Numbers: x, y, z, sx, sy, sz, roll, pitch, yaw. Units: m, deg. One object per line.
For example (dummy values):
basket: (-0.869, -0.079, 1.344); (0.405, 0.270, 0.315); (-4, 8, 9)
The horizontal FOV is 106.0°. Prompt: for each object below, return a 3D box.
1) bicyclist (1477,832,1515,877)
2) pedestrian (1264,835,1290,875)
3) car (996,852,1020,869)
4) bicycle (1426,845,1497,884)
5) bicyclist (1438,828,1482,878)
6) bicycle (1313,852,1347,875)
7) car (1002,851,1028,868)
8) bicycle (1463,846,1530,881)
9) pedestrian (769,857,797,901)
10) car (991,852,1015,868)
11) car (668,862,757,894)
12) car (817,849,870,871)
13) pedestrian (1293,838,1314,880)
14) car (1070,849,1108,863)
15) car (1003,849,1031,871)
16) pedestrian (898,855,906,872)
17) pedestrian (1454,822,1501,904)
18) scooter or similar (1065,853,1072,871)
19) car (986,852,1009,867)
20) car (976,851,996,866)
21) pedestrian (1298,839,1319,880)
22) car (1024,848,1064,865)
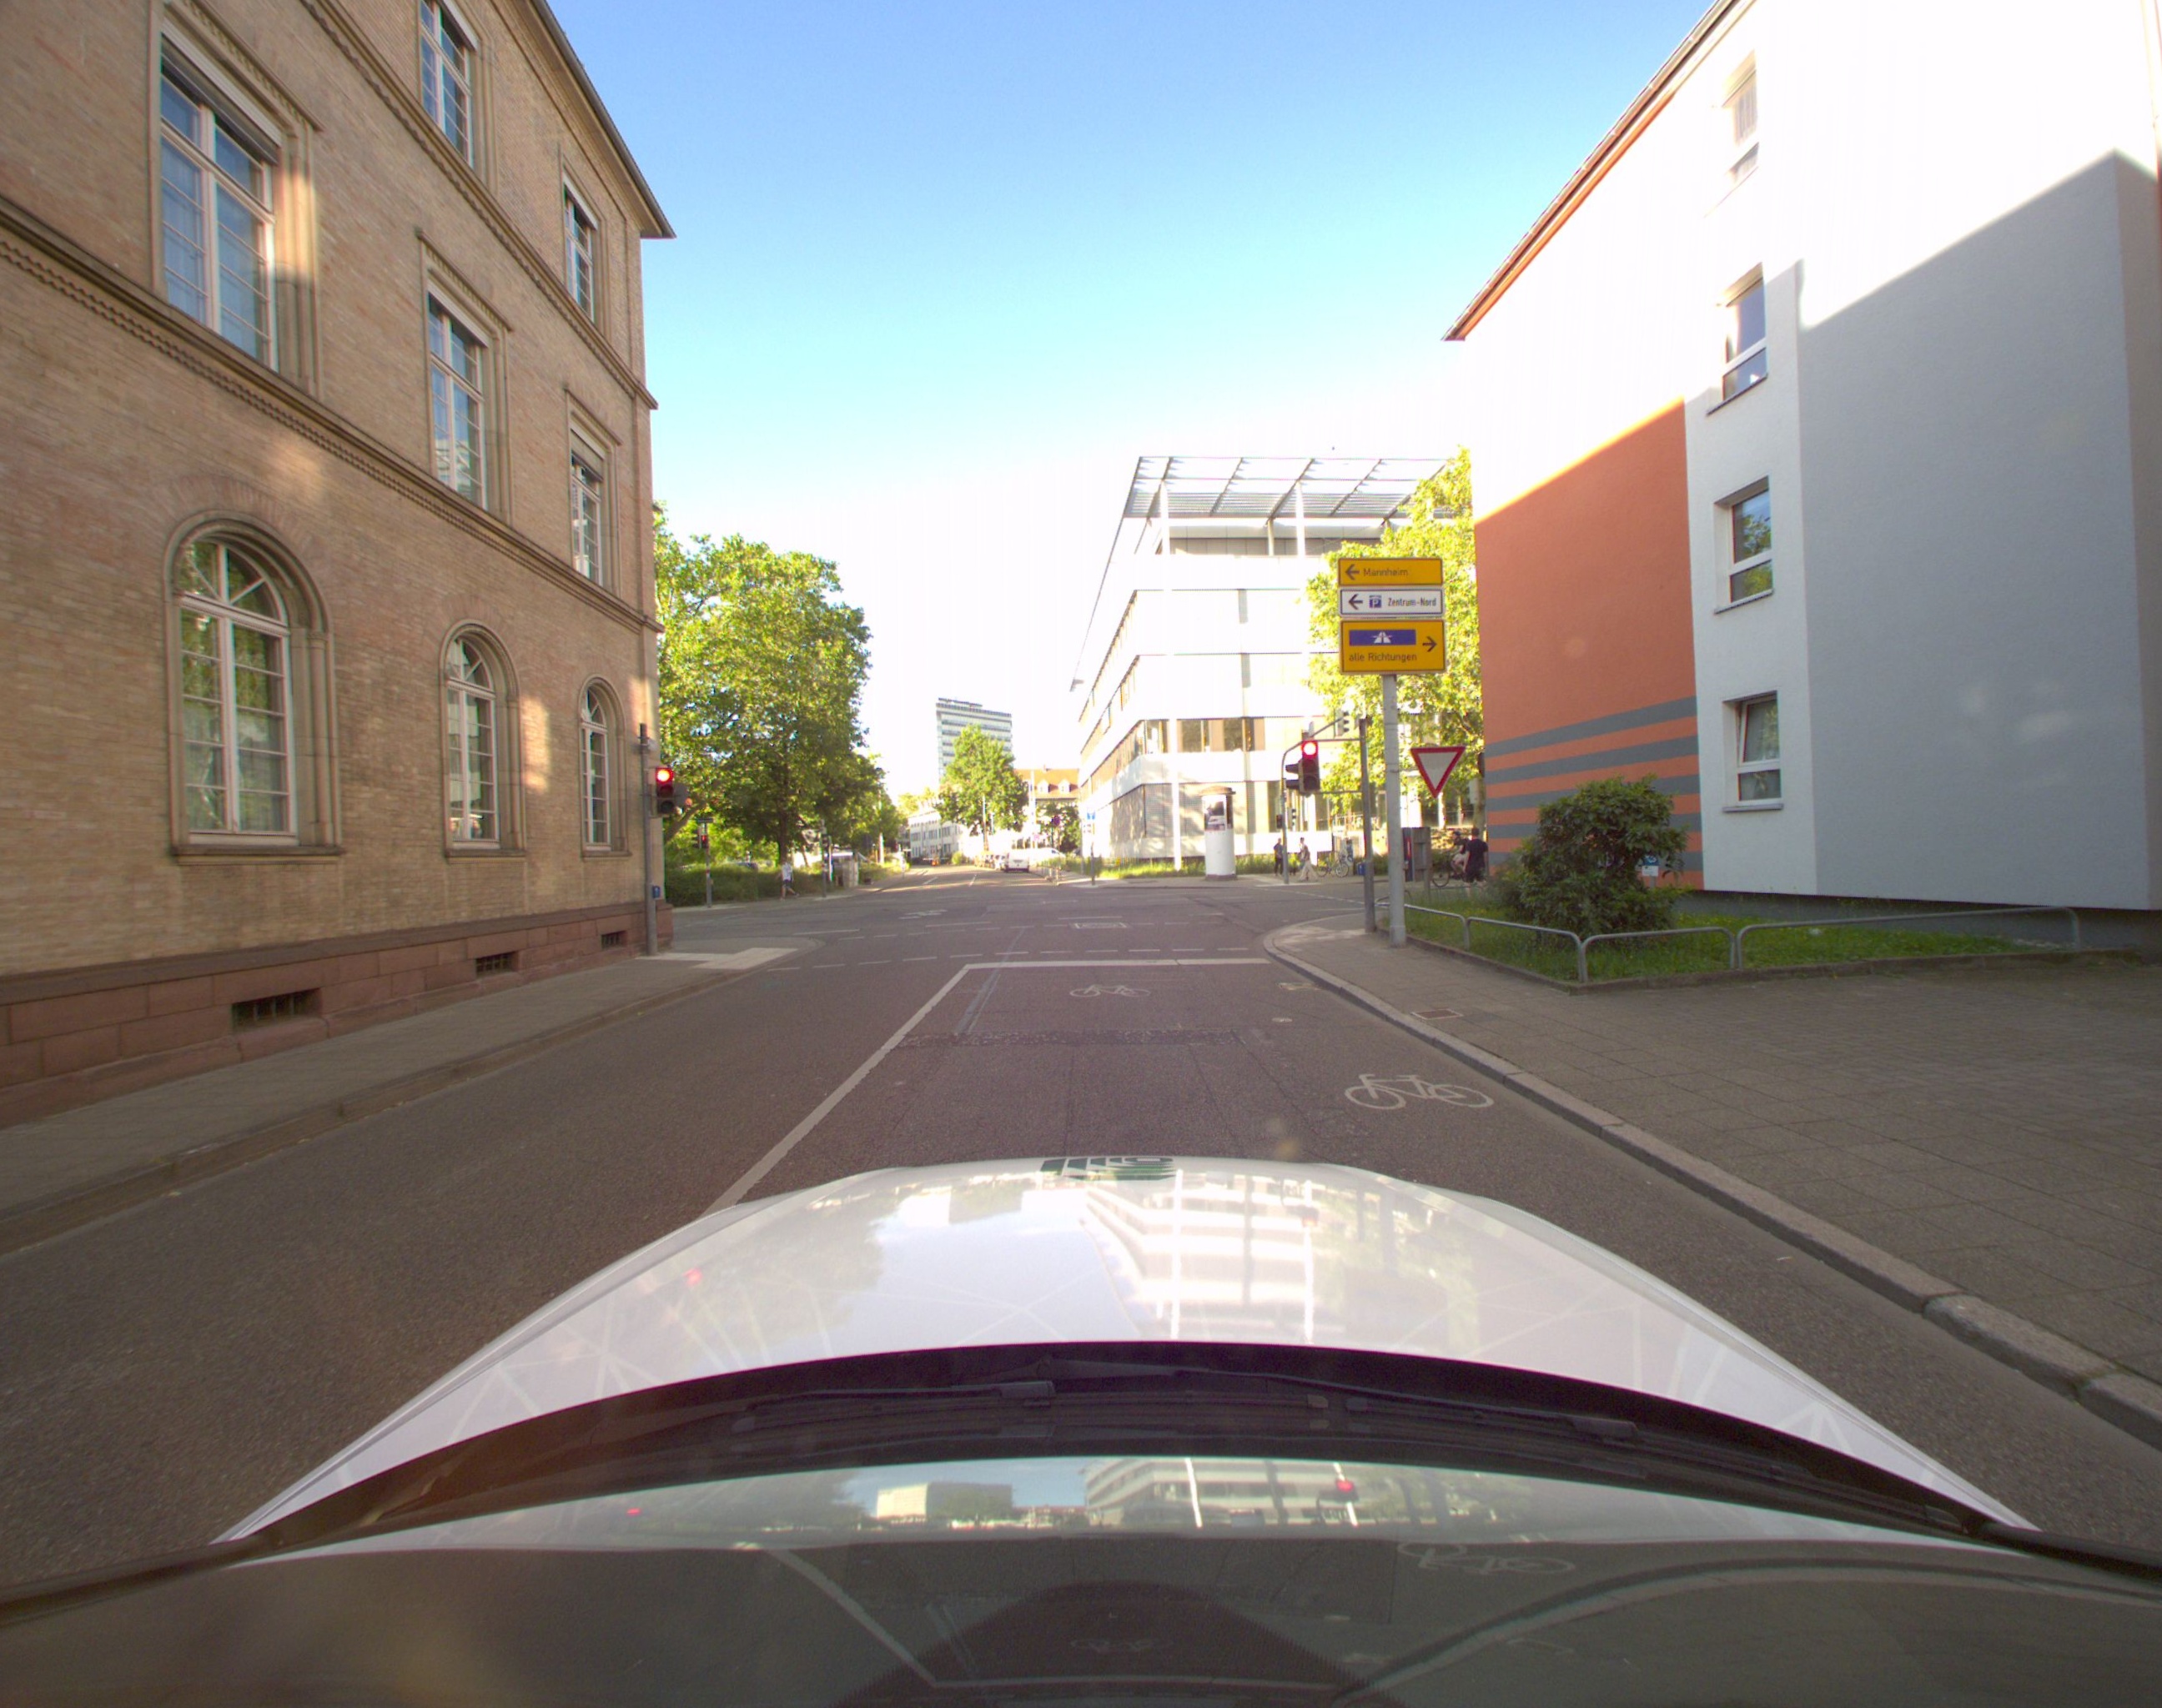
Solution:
bicyclist: (14.387, 0.009, 28.265); (0.912, 1.522, 0.705); (-2, 0, 2)
pedestrian: (9.061, 0.047, 37.631); (0.905, 1.815, 0.767); (-1, -1, 33)
car: (-6.918, 0.618, 77.158); (1.993, 1.499, 4.638); (0, -1, -8)
bicycle: (12.072, 0.340, 25.880); (1.958, 1.152, 0.592); (-2, 0, -1)
bicyclist: (12.050, -0.038, 25.888); (1.072, 1.527, 0.592); (-2, 0, -1)
bicycle: (11.006, 0.427, 36.031); (0.381, 1.008, 1.416); (-2, 0, -40)
car: (-5.845, 0.487, 71.358); (1.993, 1.499, 4.638); (0, -1, -8)
bicycle: (14.403, 0.329, 28.255); (1.955, 1.152, 0.628); (-2, 0, 2)
pedestrian: (-12.763, 1.060, 34.872); (0.922, 1.869, 0.733); (0, -1, -44)
car: (-7.840, 0.595, 81.632); (1.994, 1.499, 4.270); (0, -1, -11)
car: (-17.083, 1.095, 37.908); (3.407, 1.457, 1.646); (0, -1, -8)
car: (-22.022, 0.538, 75.774); (4.441, 2.014, 1.995); (0, -1, -8)
pedestrian: (9.525, 0.206, 34.826); (0.761, 1.795, 0.648); (0, -1, 5)
car: (1.027, 0.270, 104.960); (4.644, 1.725, 1.990); (0, -1, -15)
car: (-5.171, 0.475, 65.123); (1.992, 1.725, 4.640); (0, -1, -7)
pedestrian: (-16.484, 0.867, 74.992); (0.700, 1.587, 0.633); (0, -1, -14)
pedestrian: (9.010, 0.210, 18.520); (0.723, 1.810, 0.693); (0, -1, -39)
scooter or similar: (-0.912, 0.587, 58.480); (0.436, 1.256, 1.418); (-2, 0, -2)
car: (-8.881, 0.602, 86.385); (1.994, 1.499, 4.635); (0, -1, -10)
car: (-11.297, 0.550, 96.309); (1.995, 1.725, 4.633); (0, -1, -11)
pedestrian: (9.535, 0.228, 34.138); (0.761, 1.719, 0.648); (0, -1, 5)
car: (-4.679, 0.287, 103.254); (4.802, 2.159, 1.989); (0, -1, -16)
